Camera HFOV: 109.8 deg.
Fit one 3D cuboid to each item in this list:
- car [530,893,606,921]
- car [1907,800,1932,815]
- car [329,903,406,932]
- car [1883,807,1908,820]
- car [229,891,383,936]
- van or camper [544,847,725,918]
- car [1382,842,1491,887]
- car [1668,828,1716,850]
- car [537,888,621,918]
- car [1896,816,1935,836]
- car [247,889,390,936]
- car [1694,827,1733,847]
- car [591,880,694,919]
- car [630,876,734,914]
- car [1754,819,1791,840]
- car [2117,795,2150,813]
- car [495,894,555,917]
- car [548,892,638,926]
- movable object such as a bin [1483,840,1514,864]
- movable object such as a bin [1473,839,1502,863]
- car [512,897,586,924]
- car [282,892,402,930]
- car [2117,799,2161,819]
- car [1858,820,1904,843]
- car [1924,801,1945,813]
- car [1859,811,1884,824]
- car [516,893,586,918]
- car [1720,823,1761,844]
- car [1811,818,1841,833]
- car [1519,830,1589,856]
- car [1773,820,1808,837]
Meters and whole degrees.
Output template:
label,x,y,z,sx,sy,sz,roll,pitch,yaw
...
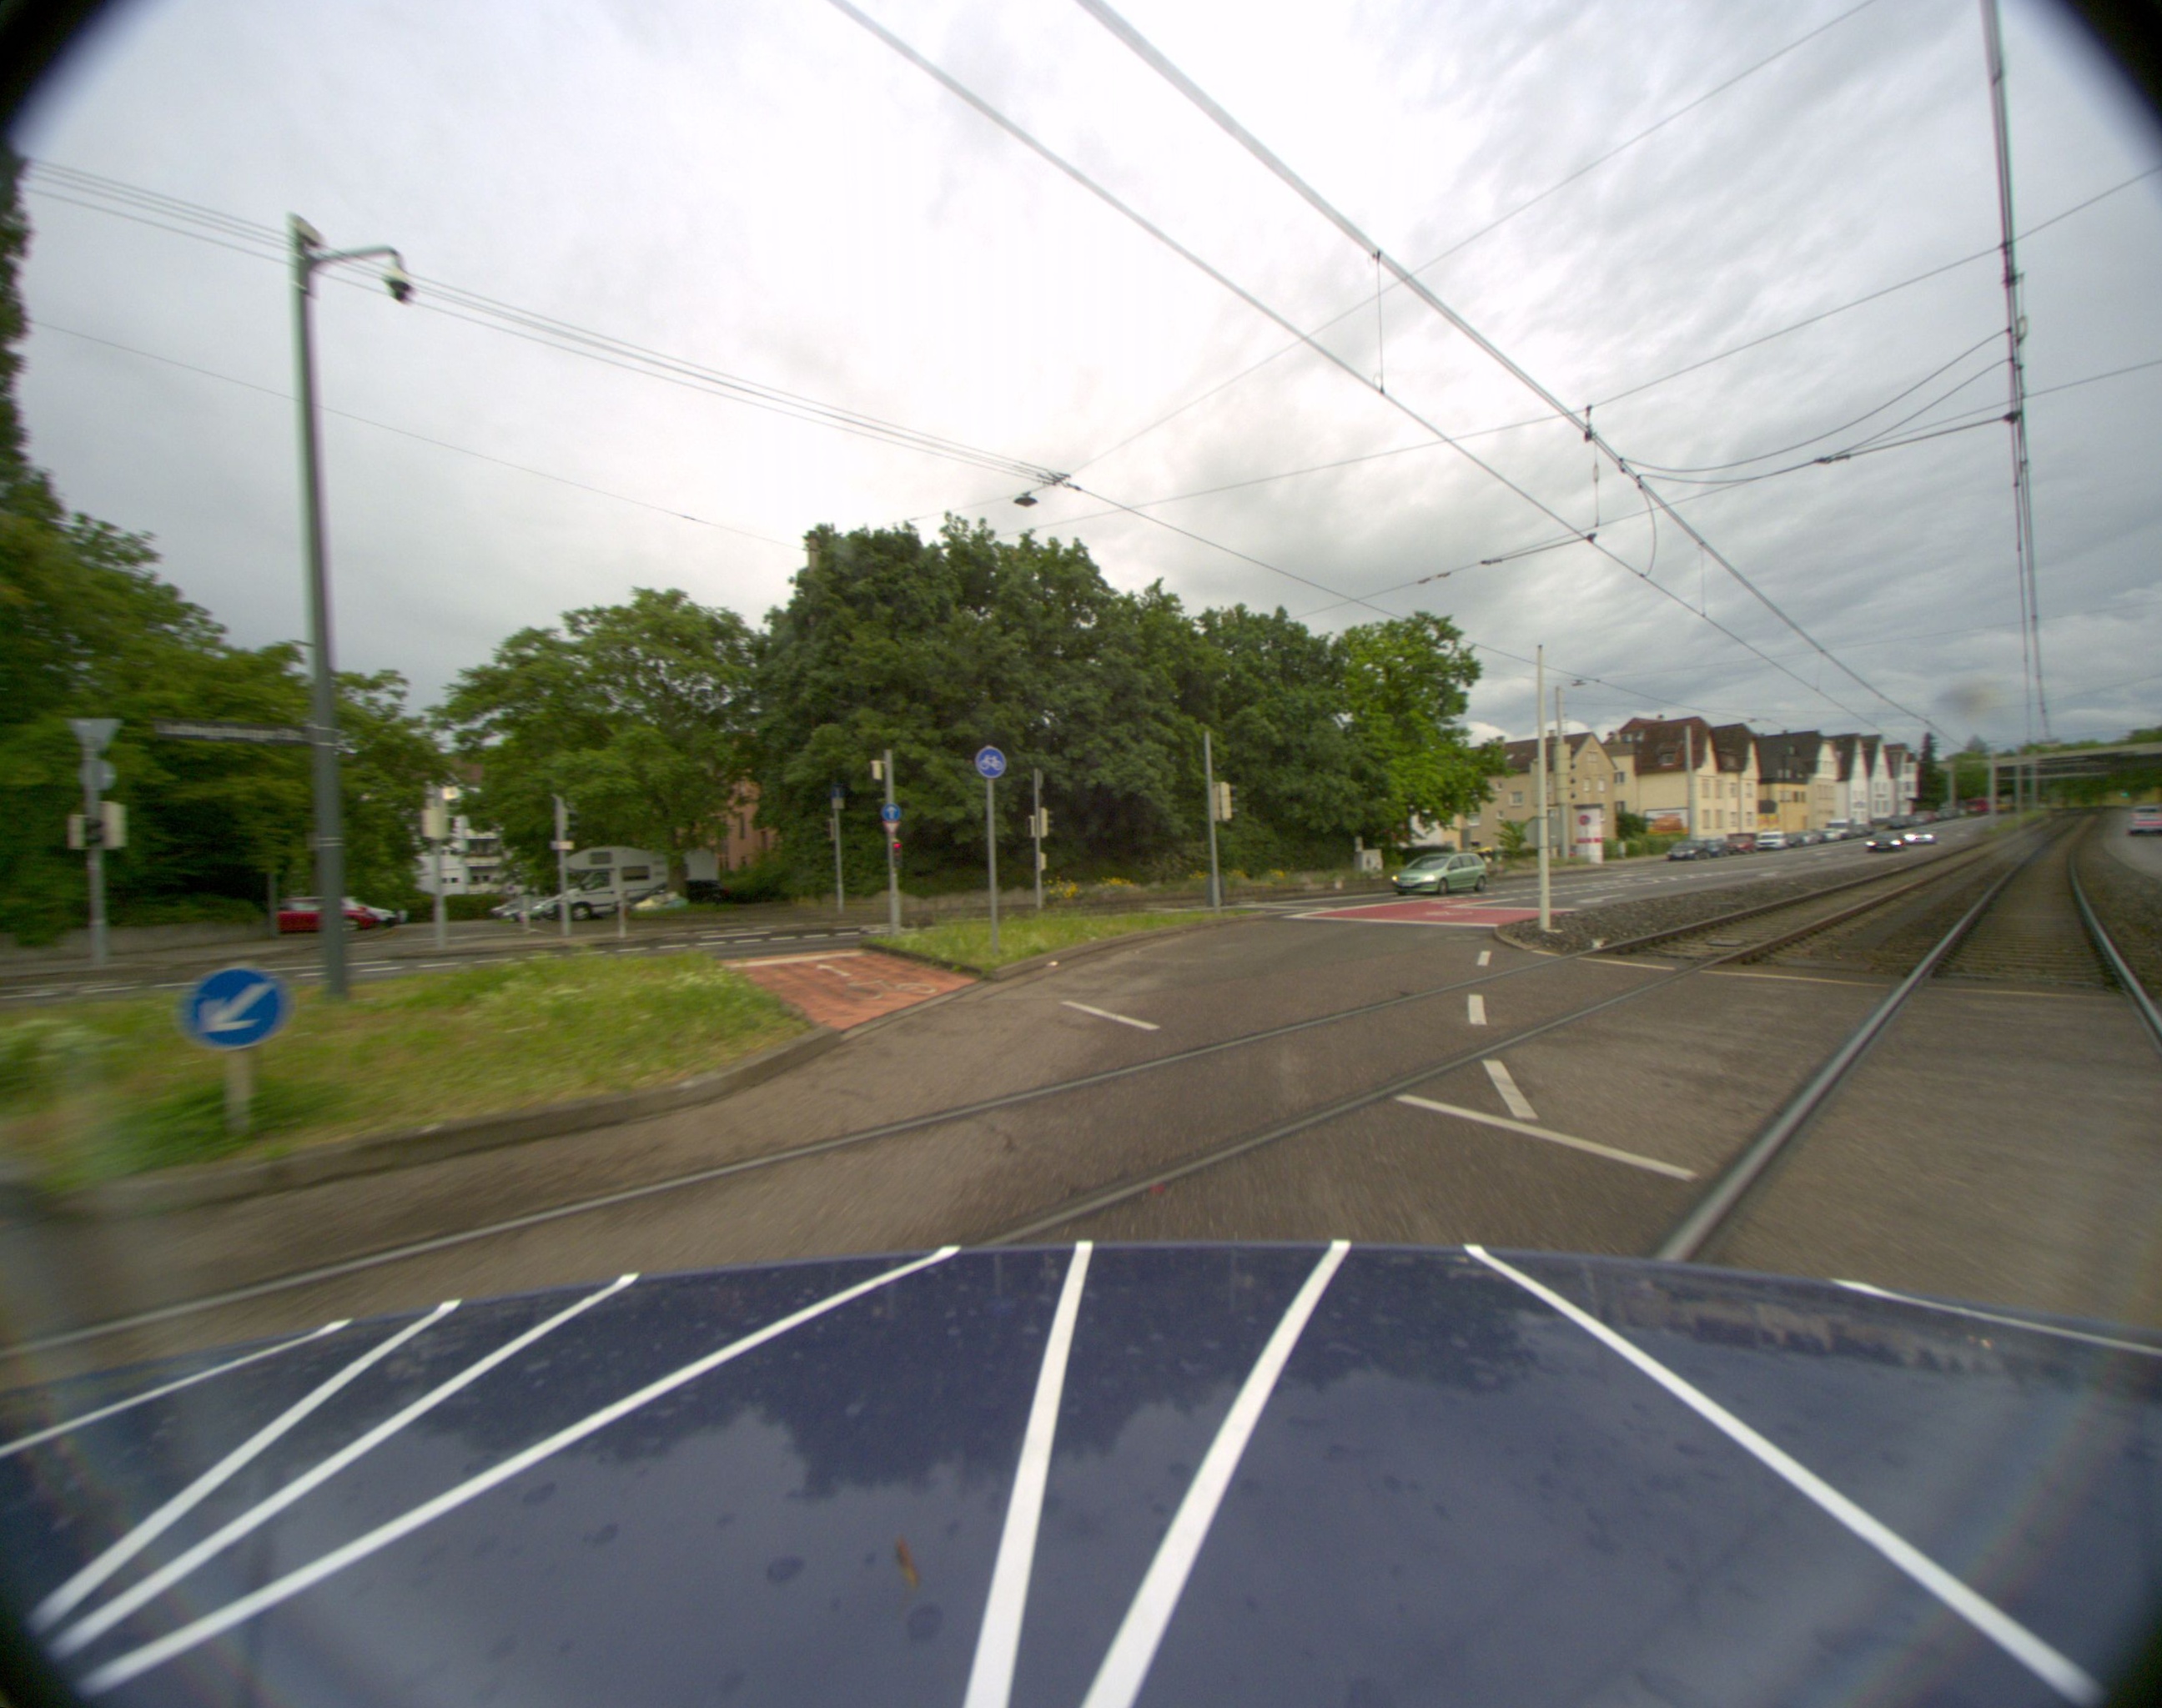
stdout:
label,x,y,z,sx,sy,sz,roll,pitch,yaw
car,-34.403,3.533,50.993,4.007,1.539,1.831,-2,0,-40
car,128.244,-7.101,116.148,4.441,1.984,1.974,-5,1,-35
car,-51.821,4.564,55.267,4.008,1.732,1.673,-2,0,-43
car,114.597,-5.731,106.855,4.207,1.539,1.724,-5,1,-34
car,-29.559,2.215,29.159,4.008,1.346,1.673,-2,0,-43
van or camper,-19.385,1.140,33.234,6.444,2.738,2.424,-2,0,-41
car,13.203,0.358,28.156,4.208,1.440,1.884,-2,0,-37
car,47.650,-1.170,59.207,4.446,1.524,1.838,-3,0,-37
car,-30.214,2.916,45.808,4.007,1.539,1.831,-2,0,-40
car,73.655,-2.482,67.060,4.207,1.416,1.885,-5,1,-37
car,-31.014,2.325,31.076,4.008,1.539,1.673,-2,0,-43
car,52.584,-1.390,63.158,3.935,1.435,1.668,-4,0,-38
car,-21.017,2.135,36.498,4.007,1.539,1.831,-2,0,-40
car,-16.677,1.664,31.807,3.479,1.346,1.673,-2,0,-43
car,66.721,-2.347,73.290,4.529,1.746,1.849,-4,0,-38
car,119.344,-5.658,86.184,5.068,2.003,1.994,-3,3,-37
car,-47.929,4.400,65.485,4.007,1.637,1.831,-2,0,-40
car,-27.305,3.032,42.567,4.007,1.539,1.831,-2,0,-40
movable object such as a bin,26.789,-0.152,48.767,1.302,1.410,1.312,-5,1,-39
movable object such as a bin,25.607,-0.192,47.826,1.136,1.410,1.185,-5,1,-39
car,-36.849,3.884,52.623,4.007,1.539,1.831,-2,0,-40
car,-41.287,3.137,42.596,4.704,1.722,1.874,-2,0,-43
car,92.276,-3.915,66.333,4.768,1.640,1.994,-3,3,-38
car,59.594,-1.674,56.584,4.207,1.416,1.885,-5,1,-37
car,137.659,-7.608,122.540,4.207,1.539,1.724,-5,1,-34
car,99.842,-4.660,95.978,4.207,1.337,1.724,-5,1,-37
car,-38.881,3.756,55.755,4.007,1.539,1.831,-2,0,-40
car,58.657,-1.816,67.545,4.106,1.618,1.838,-4,0,-37
car,84.034,-3.206,85.662,4.207,1.456,1.602,-4,0,-35
car,38.088,-0.878,61.238,1.882,1.645,4.279,-5,-1,-33
car,70.869,-2.537,75.863,4.143,1.503,1.688,-4,0,-35
